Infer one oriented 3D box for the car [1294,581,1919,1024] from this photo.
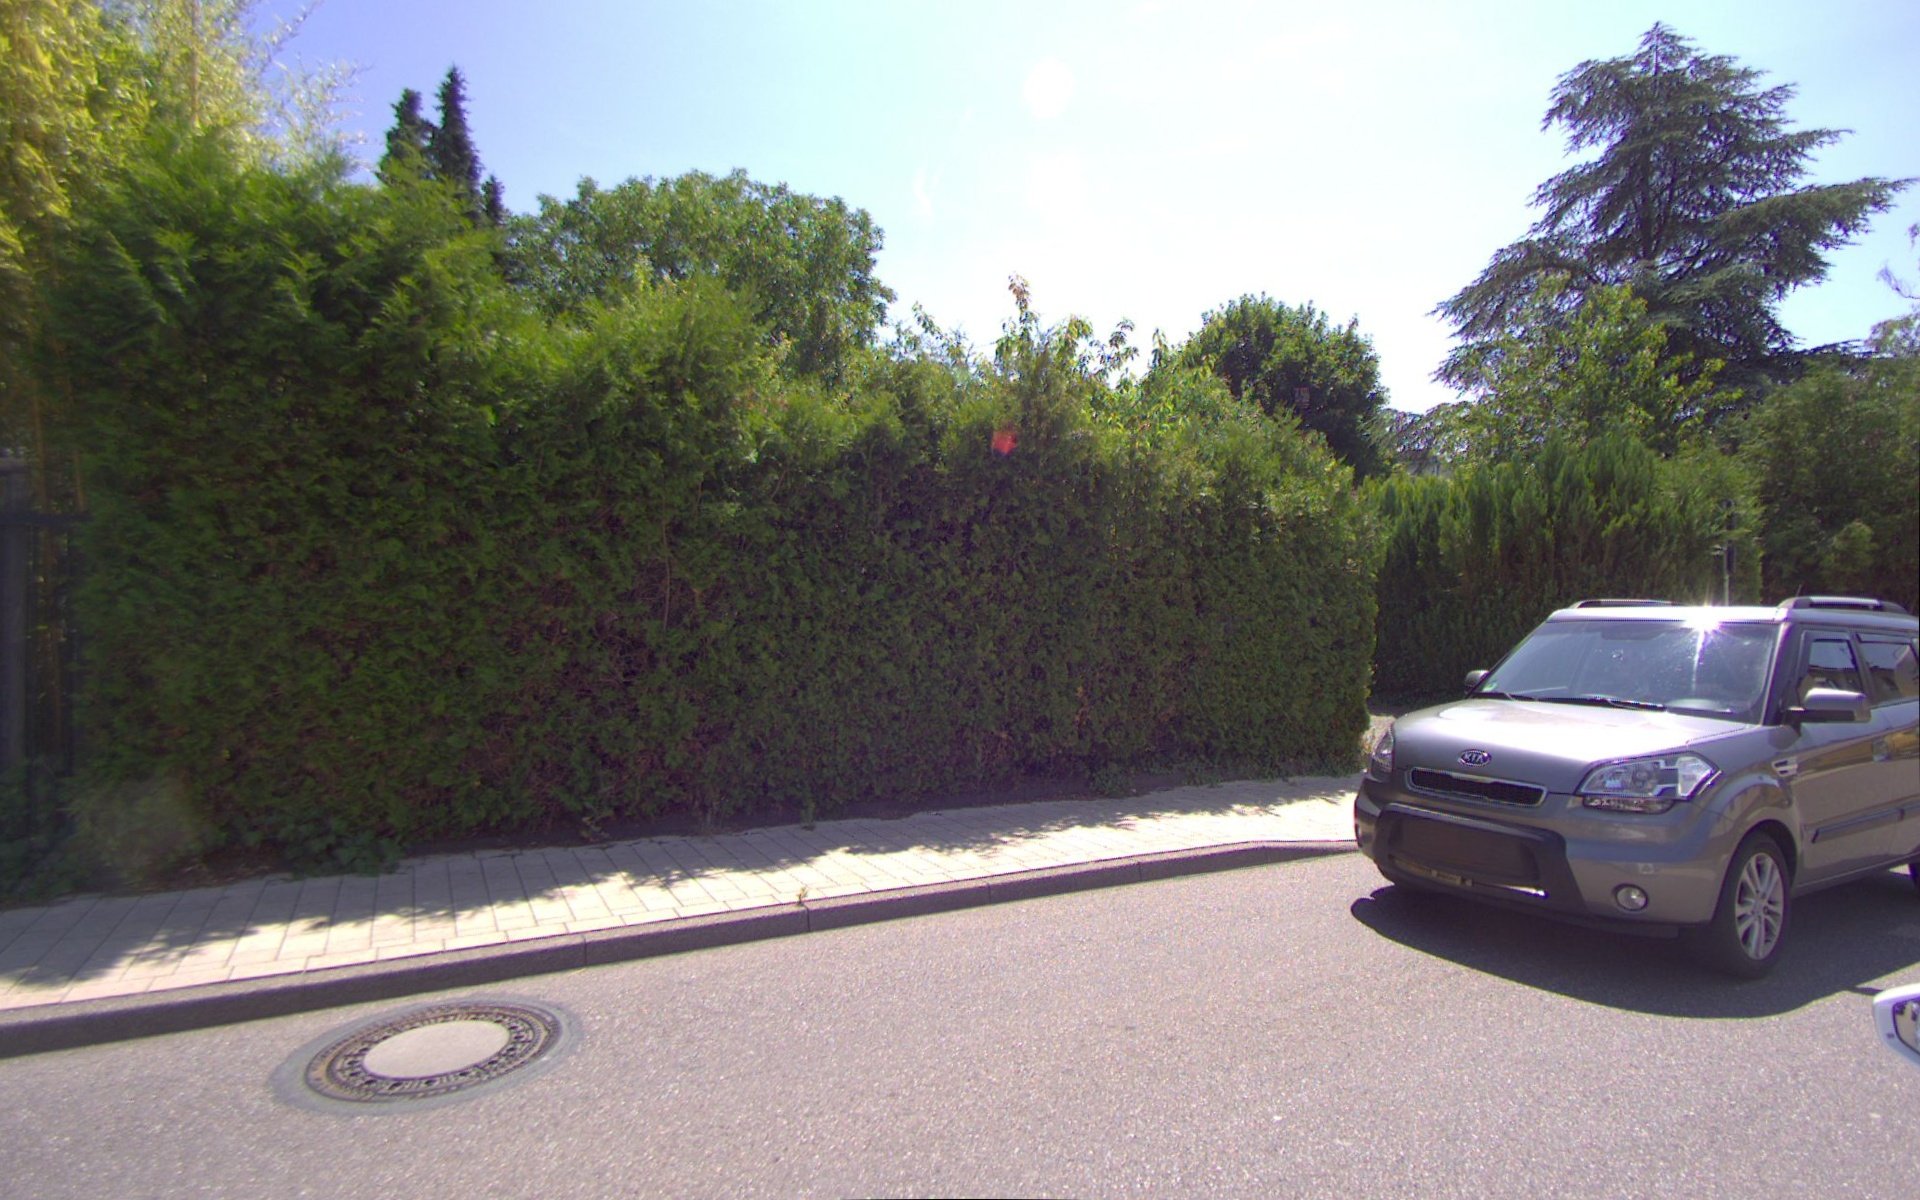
[{"bbox_3d":[3.947,0.791,5.579,3.901,1.674,1.859,1,0,-30],"label":"car"}]
